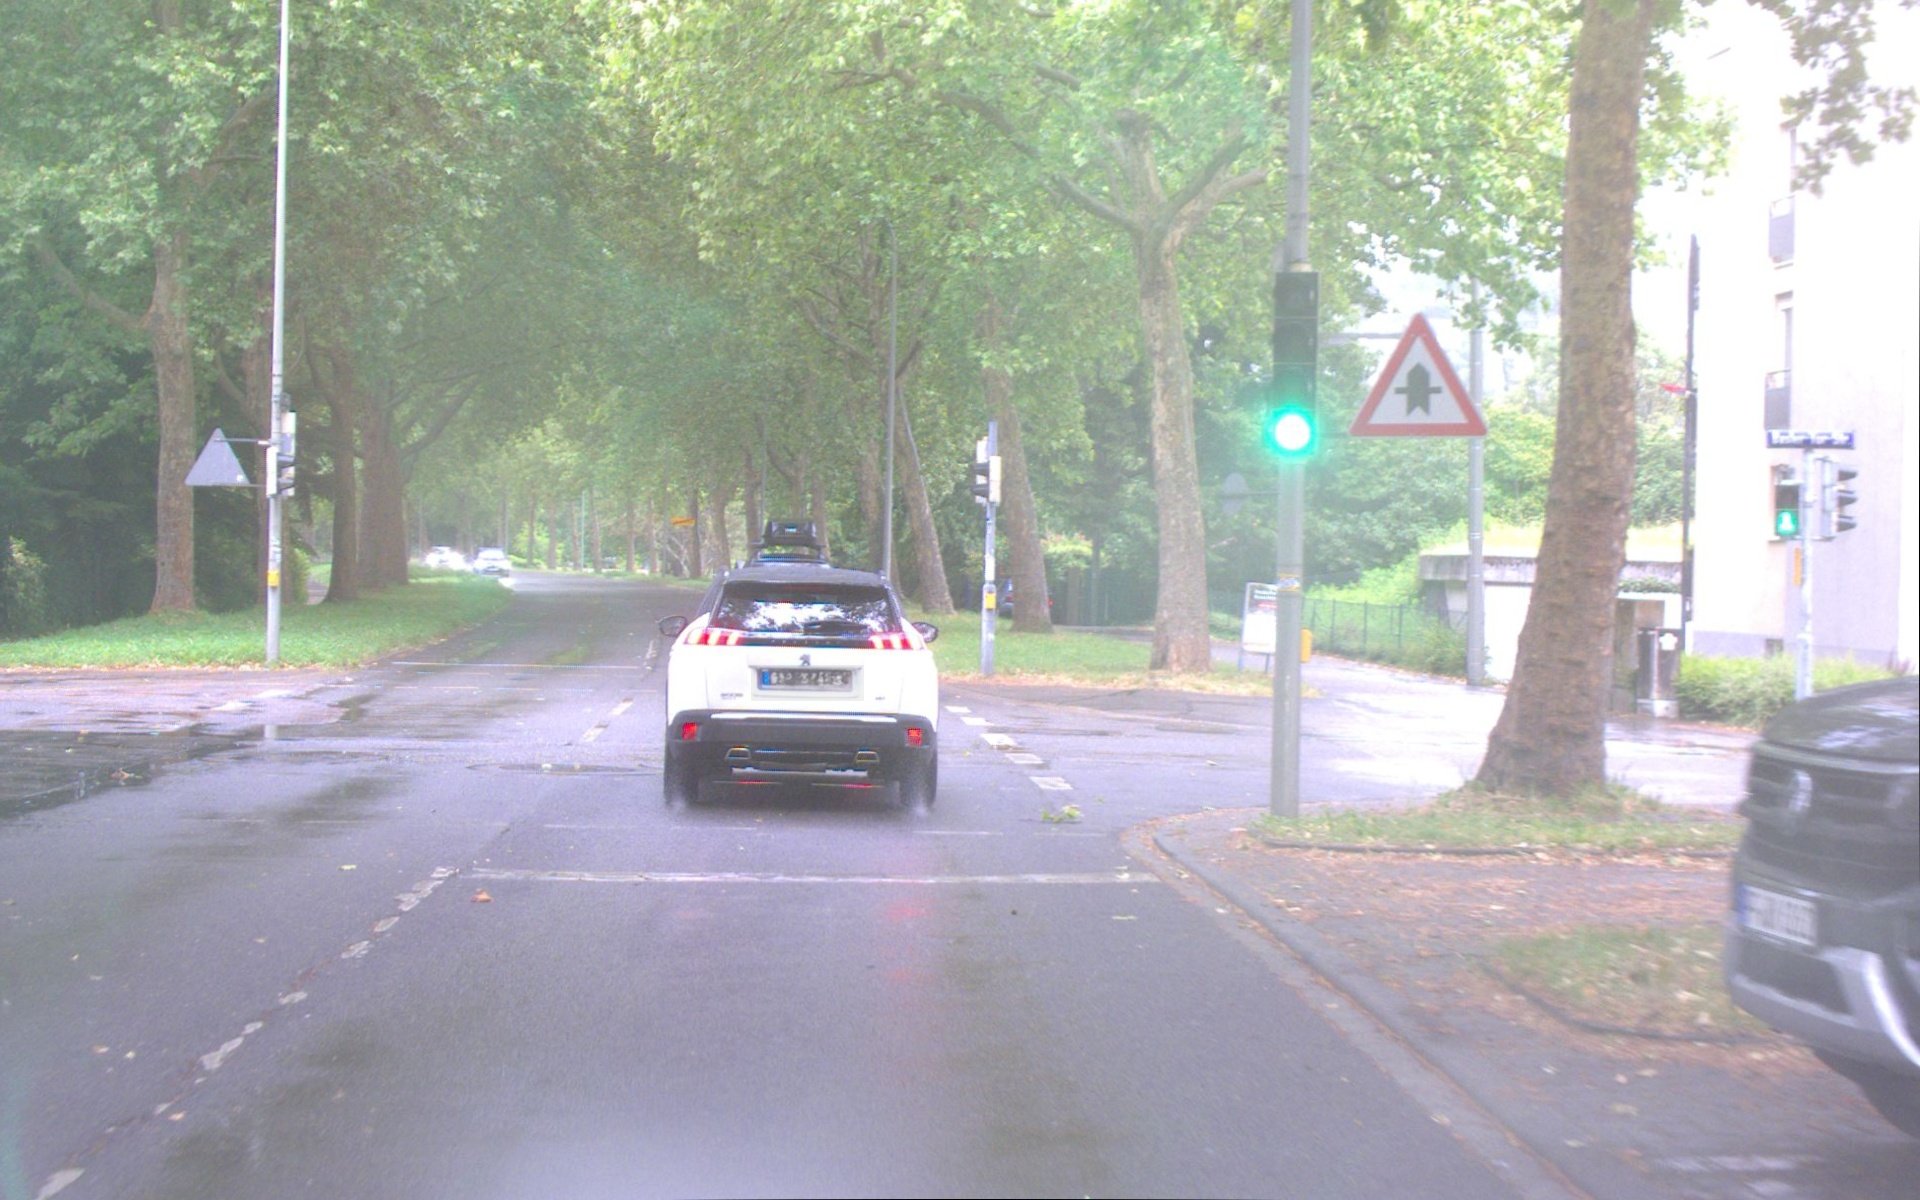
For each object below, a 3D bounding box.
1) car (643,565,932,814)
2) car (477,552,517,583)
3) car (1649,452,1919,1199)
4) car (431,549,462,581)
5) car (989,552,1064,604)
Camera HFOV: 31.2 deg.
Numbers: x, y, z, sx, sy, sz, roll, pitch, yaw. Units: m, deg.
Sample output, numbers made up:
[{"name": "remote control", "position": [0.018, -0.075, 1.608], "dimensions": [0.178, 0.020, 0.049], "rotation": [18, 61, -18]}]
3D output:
[{"name": "car", "position": [-1.090, 0.538, 23.380], "dimensions": [1.780, 1.531, 4.057], "rotation": [1, 1, 0]}, {"name": "car", "position": [-25.240, -1.782, 187.554], "dimensions": [1.873, 1.671, 3.708], "rotation": [1, 1, -4]}, {"name": "car", "position": [4.540, 0.559, 8.255], "dimensions": [5.337, 1.800, 1.845], "rotation": [-1, 1, -7]}, {"name": "car", "position": [-33.814, -2.296, 226.433], "dimensions": [1.741, 2.007, 3.665], "rotation": [1, 0, -5]}, {"name": "car", "position": [1.988, -0.672, 103.634], "dimensions": [1.905, 1.505, 3.932], "rotation": [1, 1, -4]}]
